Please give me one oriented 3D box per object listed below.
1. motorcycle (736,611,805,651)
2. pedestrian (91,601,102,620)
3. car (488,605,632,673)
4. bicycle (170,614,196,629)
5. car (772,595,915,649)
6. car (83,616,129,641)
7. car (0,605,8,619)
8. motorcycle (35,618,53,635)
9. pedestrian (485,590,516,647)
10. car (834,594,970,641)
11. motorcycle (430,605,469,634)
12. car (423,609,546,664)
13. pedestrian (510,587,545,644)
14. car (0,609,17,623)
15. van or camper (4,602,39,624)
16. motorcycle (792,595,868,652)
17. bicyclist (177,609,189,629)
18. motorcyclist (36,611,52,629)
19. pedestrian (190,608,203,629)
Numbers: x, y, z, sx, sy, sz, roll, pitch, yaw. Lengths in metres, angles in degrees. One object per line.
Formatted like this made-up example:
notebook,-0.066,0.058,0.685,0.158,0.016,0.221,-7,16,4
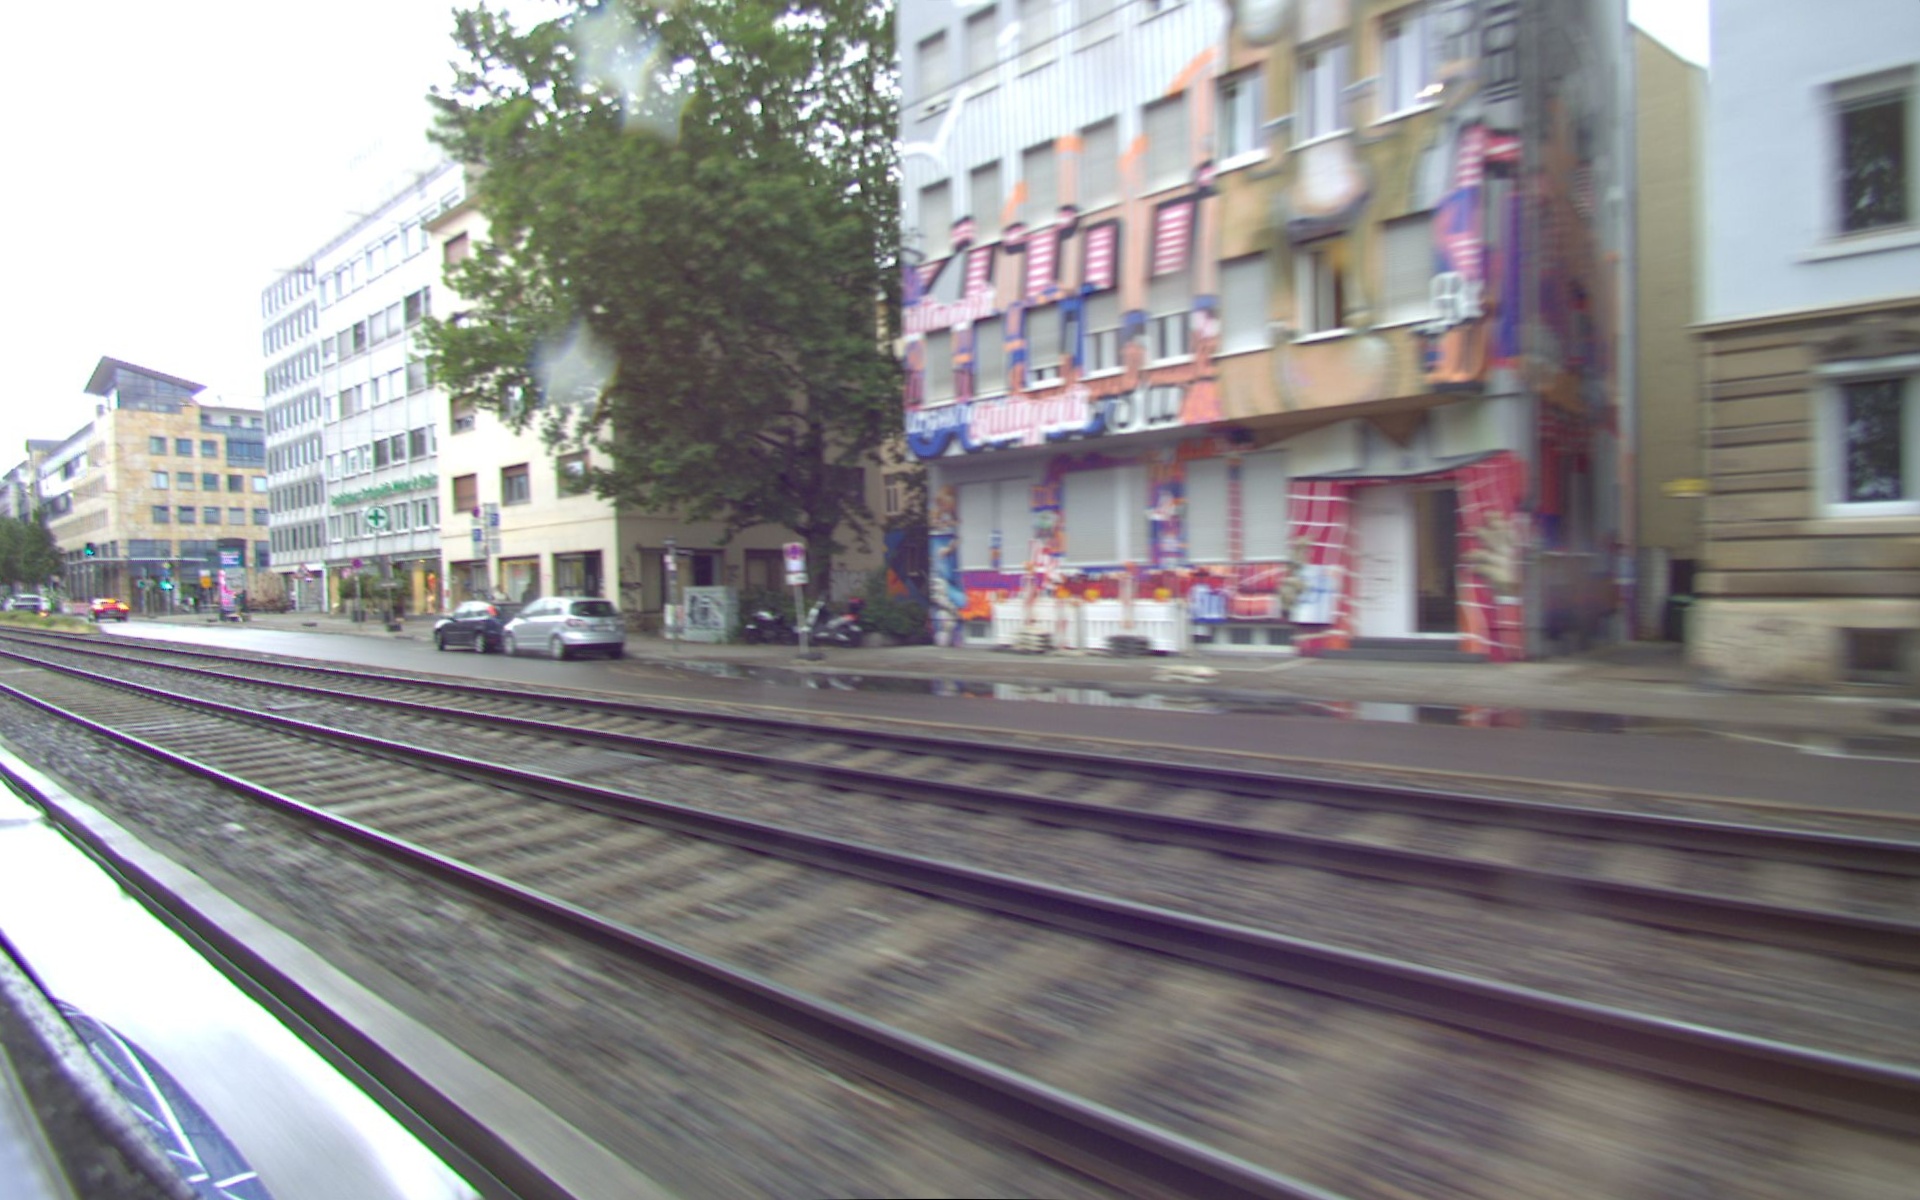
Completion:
motorcycle,-5.223,0.841,27.780,2.118,1.040,0.633,-1,1,40
pedestrian,-84.414,0.981,98.883,0.679,1.828,0.693,-1,1,44
car,-10.467,0.954,26.352,4.218,1.582,1.704,0,2,41
bicycle,-74.188,2.045,96.611,0.659,1.320,1.746,1,5,40
car,-3.461,0.627,29.749,3.997,1.465,1.973,-1,0,40
car,-58.548,1.939,69.341,4.445,1.530,1.971,0,2,44
car,-110.662,1.387,116.123,4.191,1.509,1.632,0,1,42
motorcycle,-64.150,1.856,70.868,1.931,1.067,0.734,0,2,43
pedestrian,-15.673,0.630,34.507,0.742,1.910,0.671,0,2,41
car,-1.864,0.538,31.797,3.997,1.375,1.973,-1,0,40
motorcycle,-22.005,0.824,43.633,0.385,1.188,1.462,-1,1,40
car,-13.972,1.015,29.631,4.218,1.480,1.726,0,0,41
pedestrian,-14.998,0.530,35.093,0.982,1.910,0.720,0,2,41
car,-106.955,1.823,113.151,3.997,1.497,1.672,-1,1,40
van or camper,-93.351,1.236,100.653,5.196,2.012,1.996,1,3,42
motorcycle,-3.347,0.593,25.867,2.118,1.389,0.633,-1,1,40
bicyclist,-74.318,1.795,96.799,0.783,1.817,0.701,-1,4,41
motorcyclist,-64.166,1.392,70.863,0.970,1.226,0.733,0,2,43
pedestrian,-66.336,1.587,87.943,0.667,1.794,0.705,-2,1,-14
